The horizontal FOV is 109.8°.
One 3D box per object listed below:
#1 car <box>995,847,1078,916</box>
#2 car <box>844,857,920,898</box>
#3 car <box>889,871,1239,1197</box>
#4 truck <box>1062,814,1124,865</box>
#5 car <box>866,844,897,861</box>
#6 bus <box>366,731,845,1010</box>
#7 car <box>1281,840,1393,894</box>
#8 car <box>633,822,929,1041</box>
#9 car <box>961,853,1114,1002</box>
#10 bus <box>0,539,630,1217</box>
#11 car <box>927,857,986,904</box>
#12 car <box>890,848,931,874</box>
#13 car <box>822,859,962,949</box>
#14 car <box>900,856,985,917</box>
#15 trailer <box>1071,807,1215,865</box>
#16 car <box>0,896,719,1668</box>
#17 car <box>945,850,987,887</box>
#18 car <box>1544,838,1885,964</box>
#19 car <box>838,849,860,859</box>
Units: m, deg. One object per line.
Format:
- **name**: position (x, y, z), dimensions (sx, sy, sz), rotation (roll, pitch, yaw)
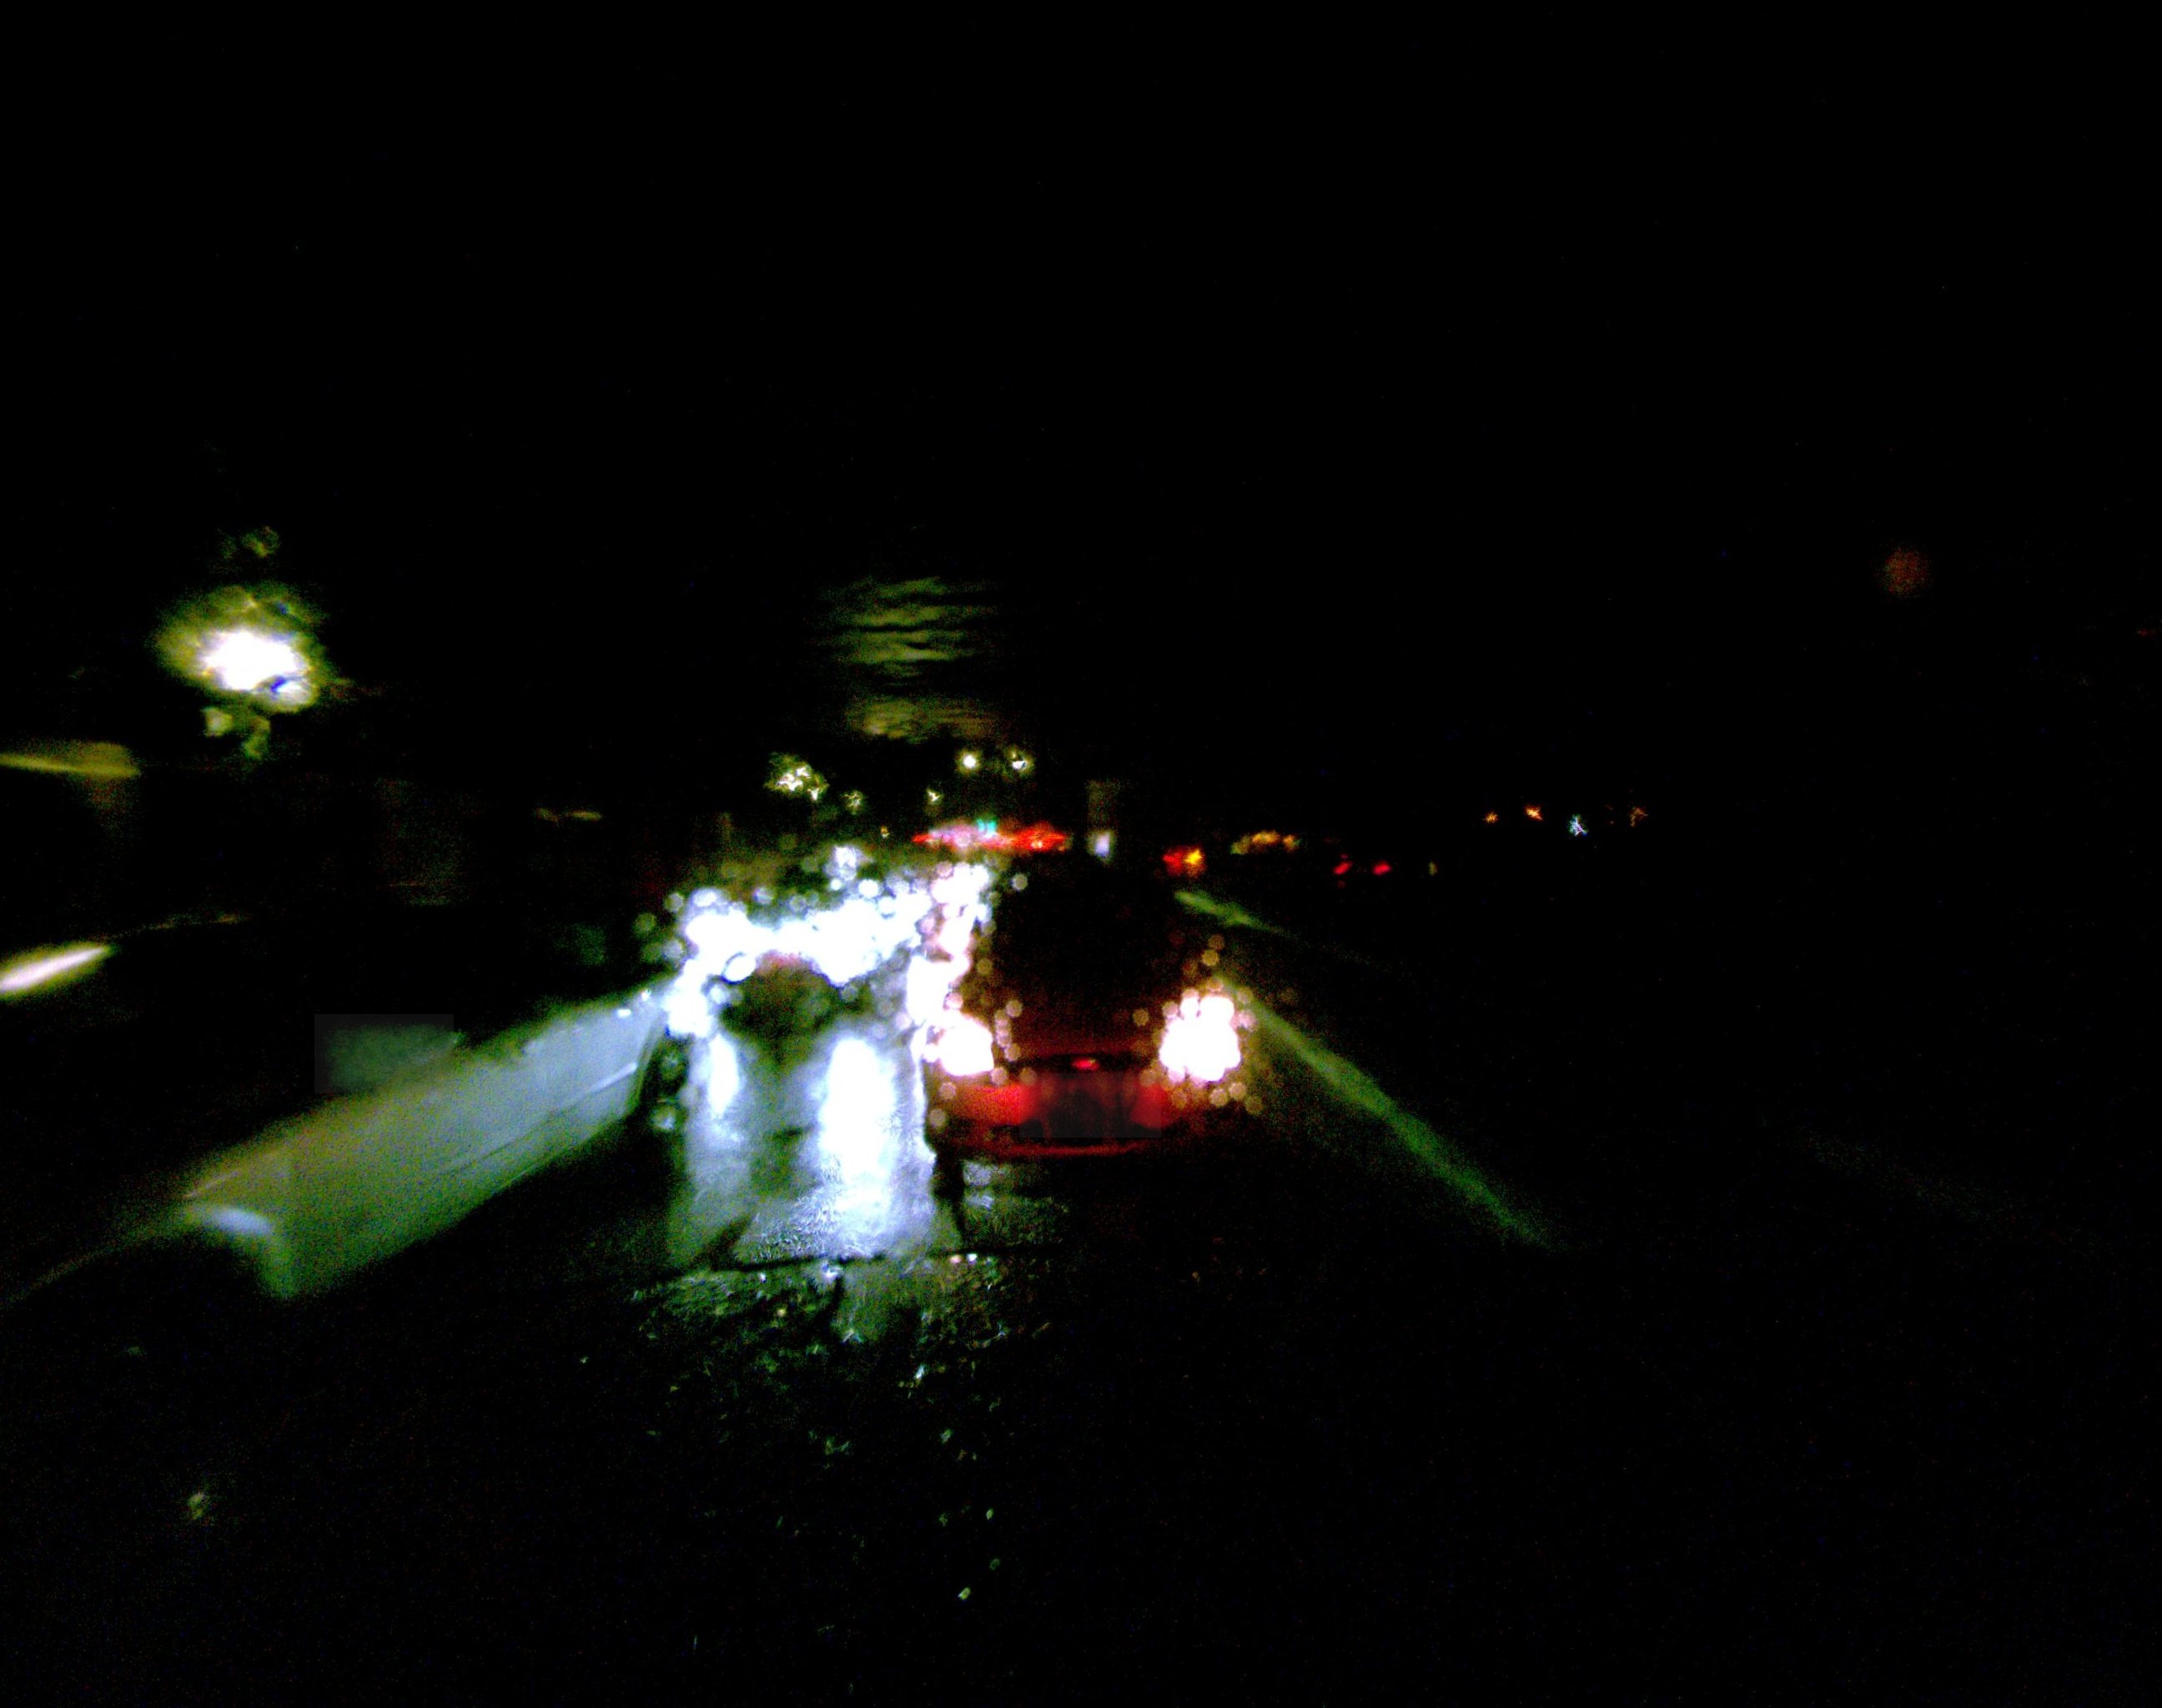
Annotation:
- **car**: position (-1.116, 0.633, 19.756), dimensions (1.881, 1.534, 3.999), rotation (-2, 1, -2)
- **car**: position (-8.192, 0.920, 31.716), dimensions (1.842, 1.469, 4.628), rotation (-2, 1, 0)
- **car**: position (-0.051, 0.898, 5.562), dimensions (1.603, 1.360, 3.942), rotation (-2, 1, 1)
- **truck**: position (0.919, -1.215, 67.152), dimensions (3.971, 4.152, 6.369), rotation (-2, 1, -12)
- **car**: position (-18.631, -0.181, 70.725), dimensions (1.856, 1.423, 4.491), rotation (-3, 2, -26)
- **bus**: position (-6.947, 0.190, 13.604), dimensions (2.776, 3.105, 9.759), rotation (-2, 0, -3)
- **car**: position (9.169, 0.412, 27.706), dimensions (1.970, 1.731, 4.915), rotation (-2, 1, -5)
- **car**: position (-3.374, 0.738, 9.631), dimensions (1.999, 2.076, 4.347), rotation (-2, 1, -1)
- **car**: position (-0.471, 0.840, 10.672), dimensions (1.683, 1.591, 3.996), rotation (-2, 1, 1)
- **bus**: position (-6.363, 0.144, 3.820), dimensions (2.777, 3.105, 9.759), rotation (-2, 0, -4)
- **car**: position (-4.388, 0.892, 27.253), dimensions (1.683, 1.463, 3.998), rotation (-2, 1, -4)
- **car**: position (-10.214, 0.404, 45.863), dimensions (1.854, 1.476, 4.627), rotation (-1, 0, -6)
- **car**: position (-3.746, 0.932, 15.793), dimensions (1.869, 1.503, 3.766), rotation (-2, 1, 1)
- **car**: position (-3.927, 0.864, 22.198), dimensions (1.629, 1.494, 3.999), rotation (-2, 1, 1)
- **trailer**: position (4.538, -1.290, 61.310), dimensions (3.975, 4.152, 13.887), rotation (-3, 1, -32)
- **car**: position (-3.190, 1.031, 2.709), dimensions (1.792, 1.359, 3.999), rotation (-2, 2, 0)
- **car**: position (-5.393, 0.646, 36.099), dimensions (1.743, 1.581, 3.997), rotation (-2, 1, -6)
- **car**: position (10.500, 0.654, 13.135), dimensions (1.910, 1.731, 4.395), rotation (-2, 1, -7)
- **car**: position (-33.714, 0.006, 110.384), dimensions (1.857, 1.476, 4.474), rotation (-1, 0, -34)
